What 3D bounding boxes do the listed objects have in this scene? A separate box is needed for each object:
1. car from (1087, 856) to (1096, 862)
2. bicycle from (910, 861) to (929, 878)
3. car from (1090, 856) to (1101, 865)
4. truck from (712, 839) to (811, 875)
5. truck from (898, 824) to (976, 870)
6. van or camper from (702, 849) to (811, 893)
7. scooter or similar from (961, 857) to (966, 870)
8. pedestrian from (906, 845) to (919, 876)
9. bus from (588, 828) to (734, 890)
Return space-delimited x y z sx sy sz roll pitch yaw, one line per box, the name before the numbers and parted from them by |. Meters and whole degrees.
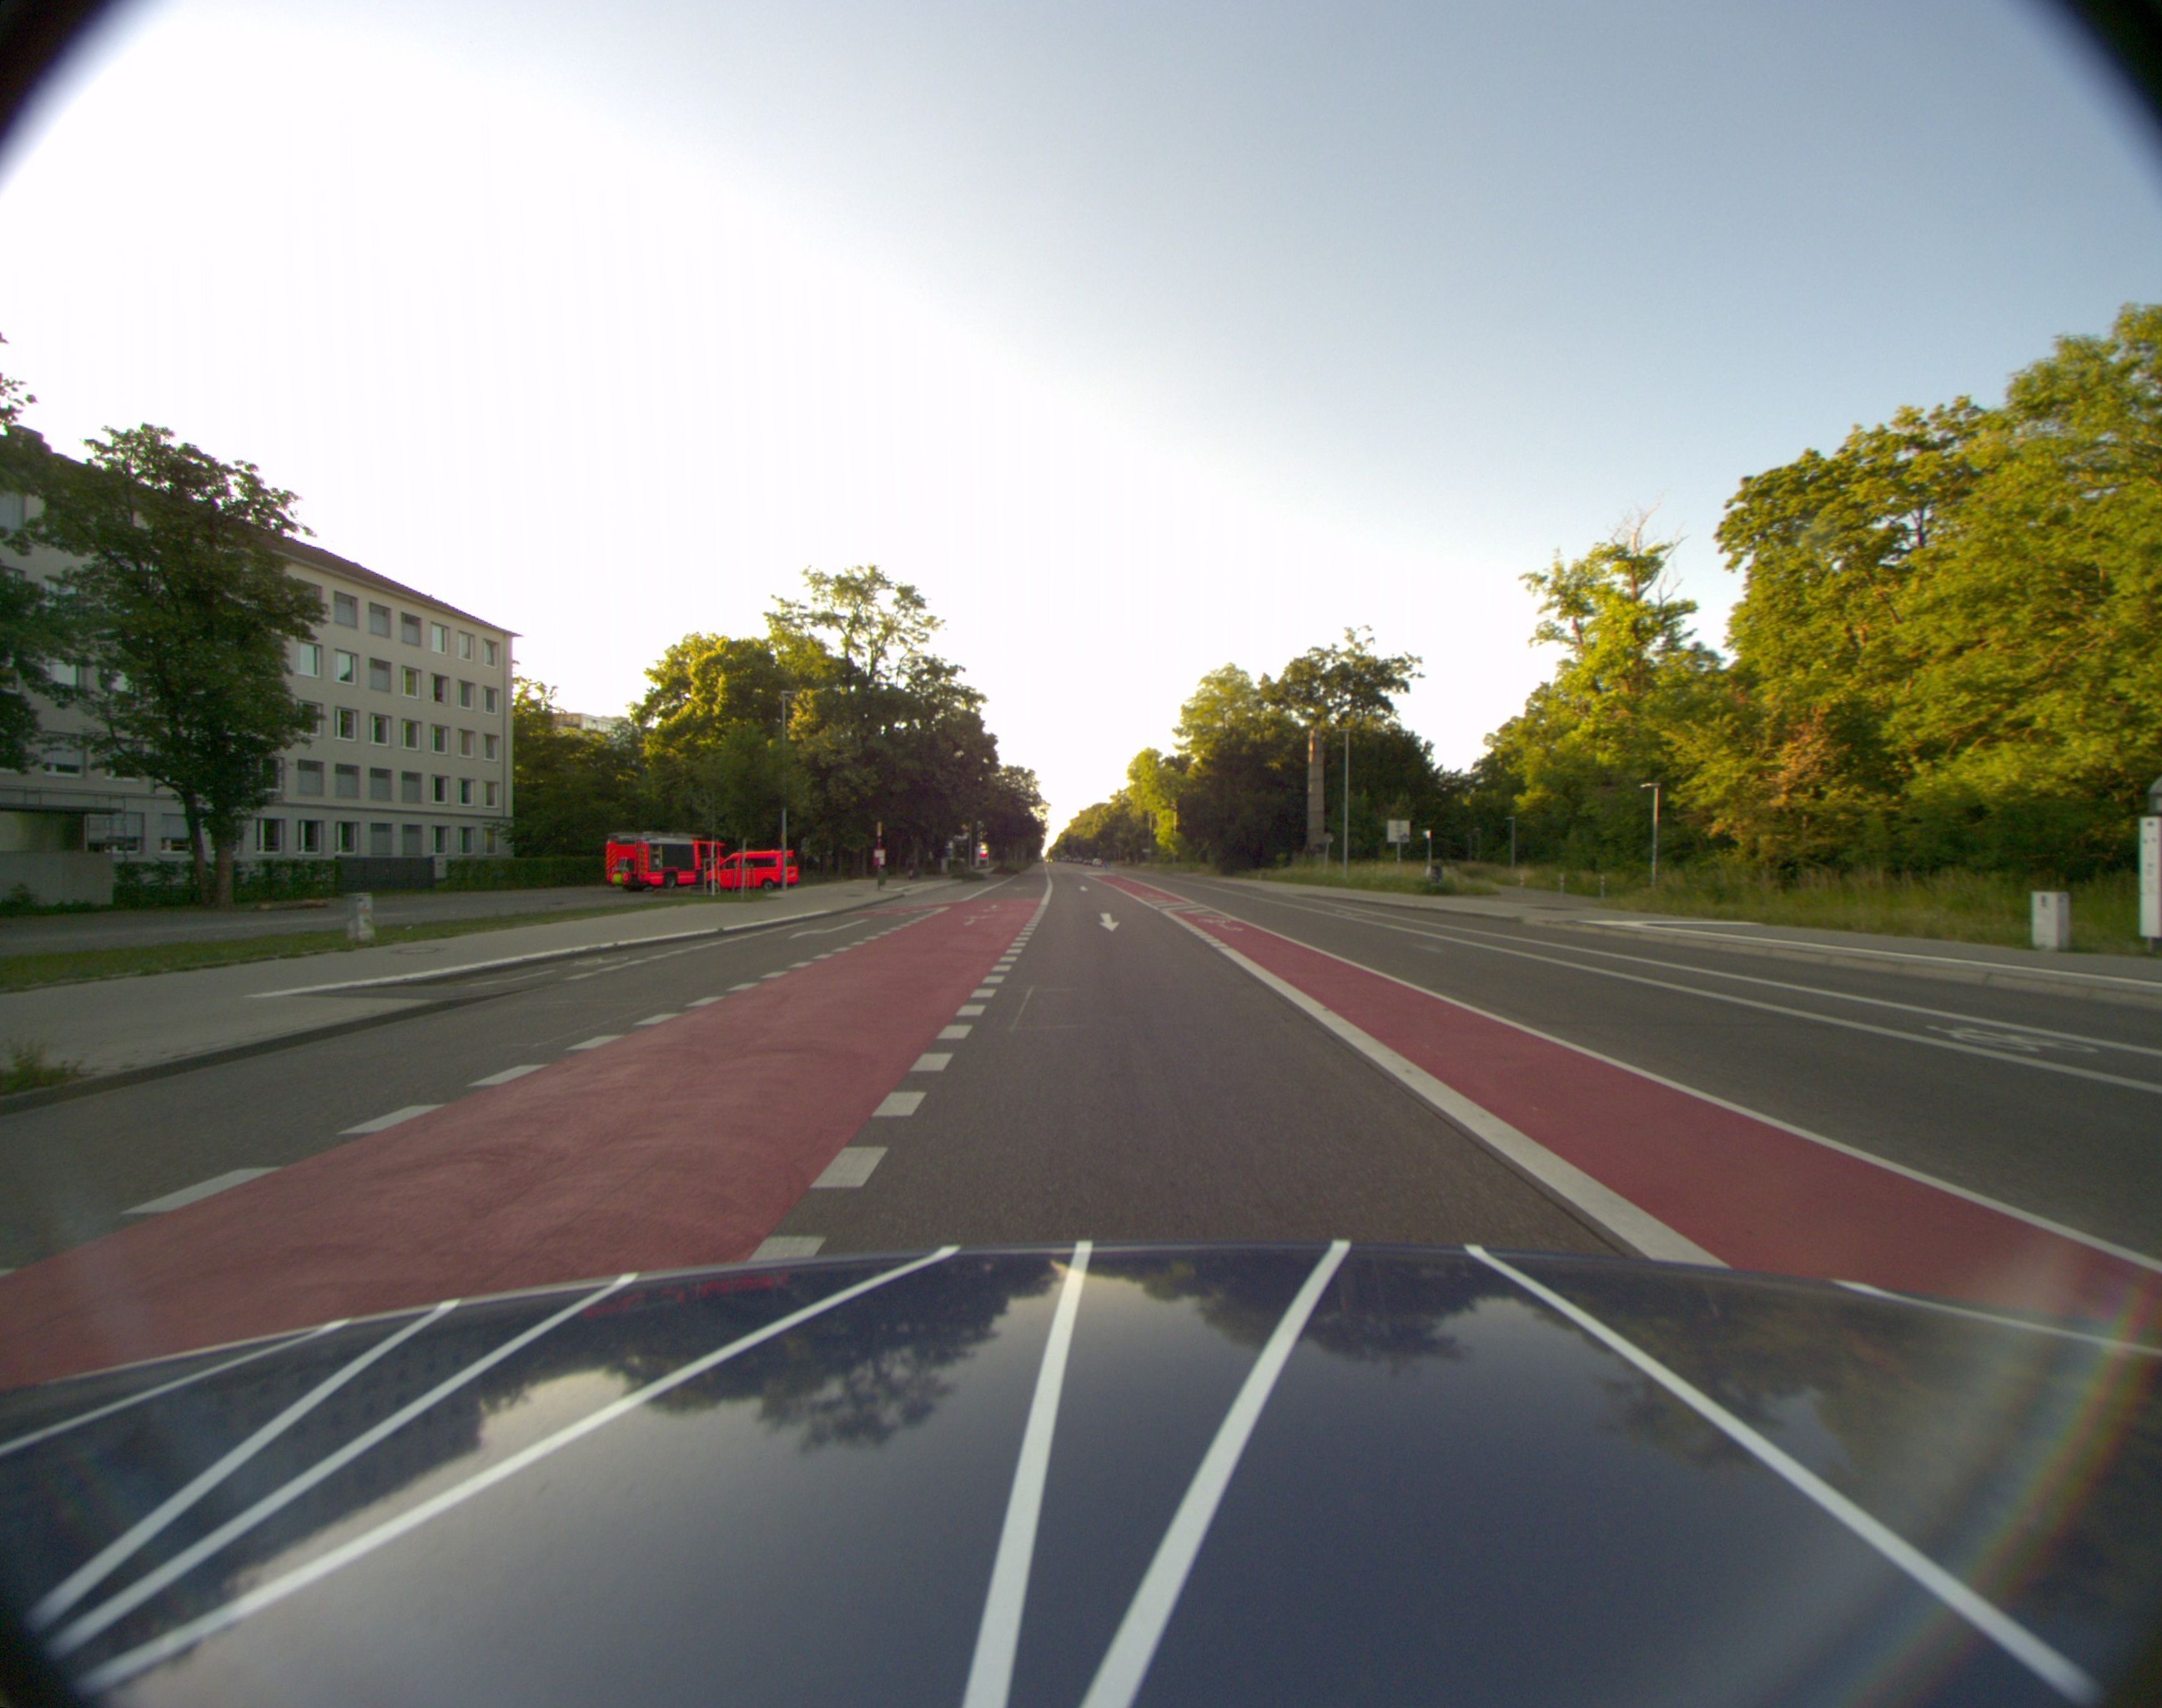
car | 2.294 1.188 167.640 1.754 1.299 3.999 1 0 -2
bicycle | -10.736 1.016 50.480 0.832 1.091 1.969 1 0 -1
car | 2.845 1.366 150.982 1.852 1.405 4.182 -4 -3 -3
truck | -29.609 0.251 70.409 8.645 3.192 2.765 0 0 17
truck | -19.080 -0.856 99.032 5.168 5.541 15.047 0 0 -31
van or camper | -17.488 0.894 41.066 4.822 2.231 2.296 -1 0 7
scooter or similar | -11.999 0.979 77.725 0.483 1.274 1.230 1 0 -7
pedestrian | -11.201 0.443 50.470 0.725 2.002 0.695 1 1 -2
bus | -23.668 0.249 43.448 2.993 3.177 7.969 -1 0 8
